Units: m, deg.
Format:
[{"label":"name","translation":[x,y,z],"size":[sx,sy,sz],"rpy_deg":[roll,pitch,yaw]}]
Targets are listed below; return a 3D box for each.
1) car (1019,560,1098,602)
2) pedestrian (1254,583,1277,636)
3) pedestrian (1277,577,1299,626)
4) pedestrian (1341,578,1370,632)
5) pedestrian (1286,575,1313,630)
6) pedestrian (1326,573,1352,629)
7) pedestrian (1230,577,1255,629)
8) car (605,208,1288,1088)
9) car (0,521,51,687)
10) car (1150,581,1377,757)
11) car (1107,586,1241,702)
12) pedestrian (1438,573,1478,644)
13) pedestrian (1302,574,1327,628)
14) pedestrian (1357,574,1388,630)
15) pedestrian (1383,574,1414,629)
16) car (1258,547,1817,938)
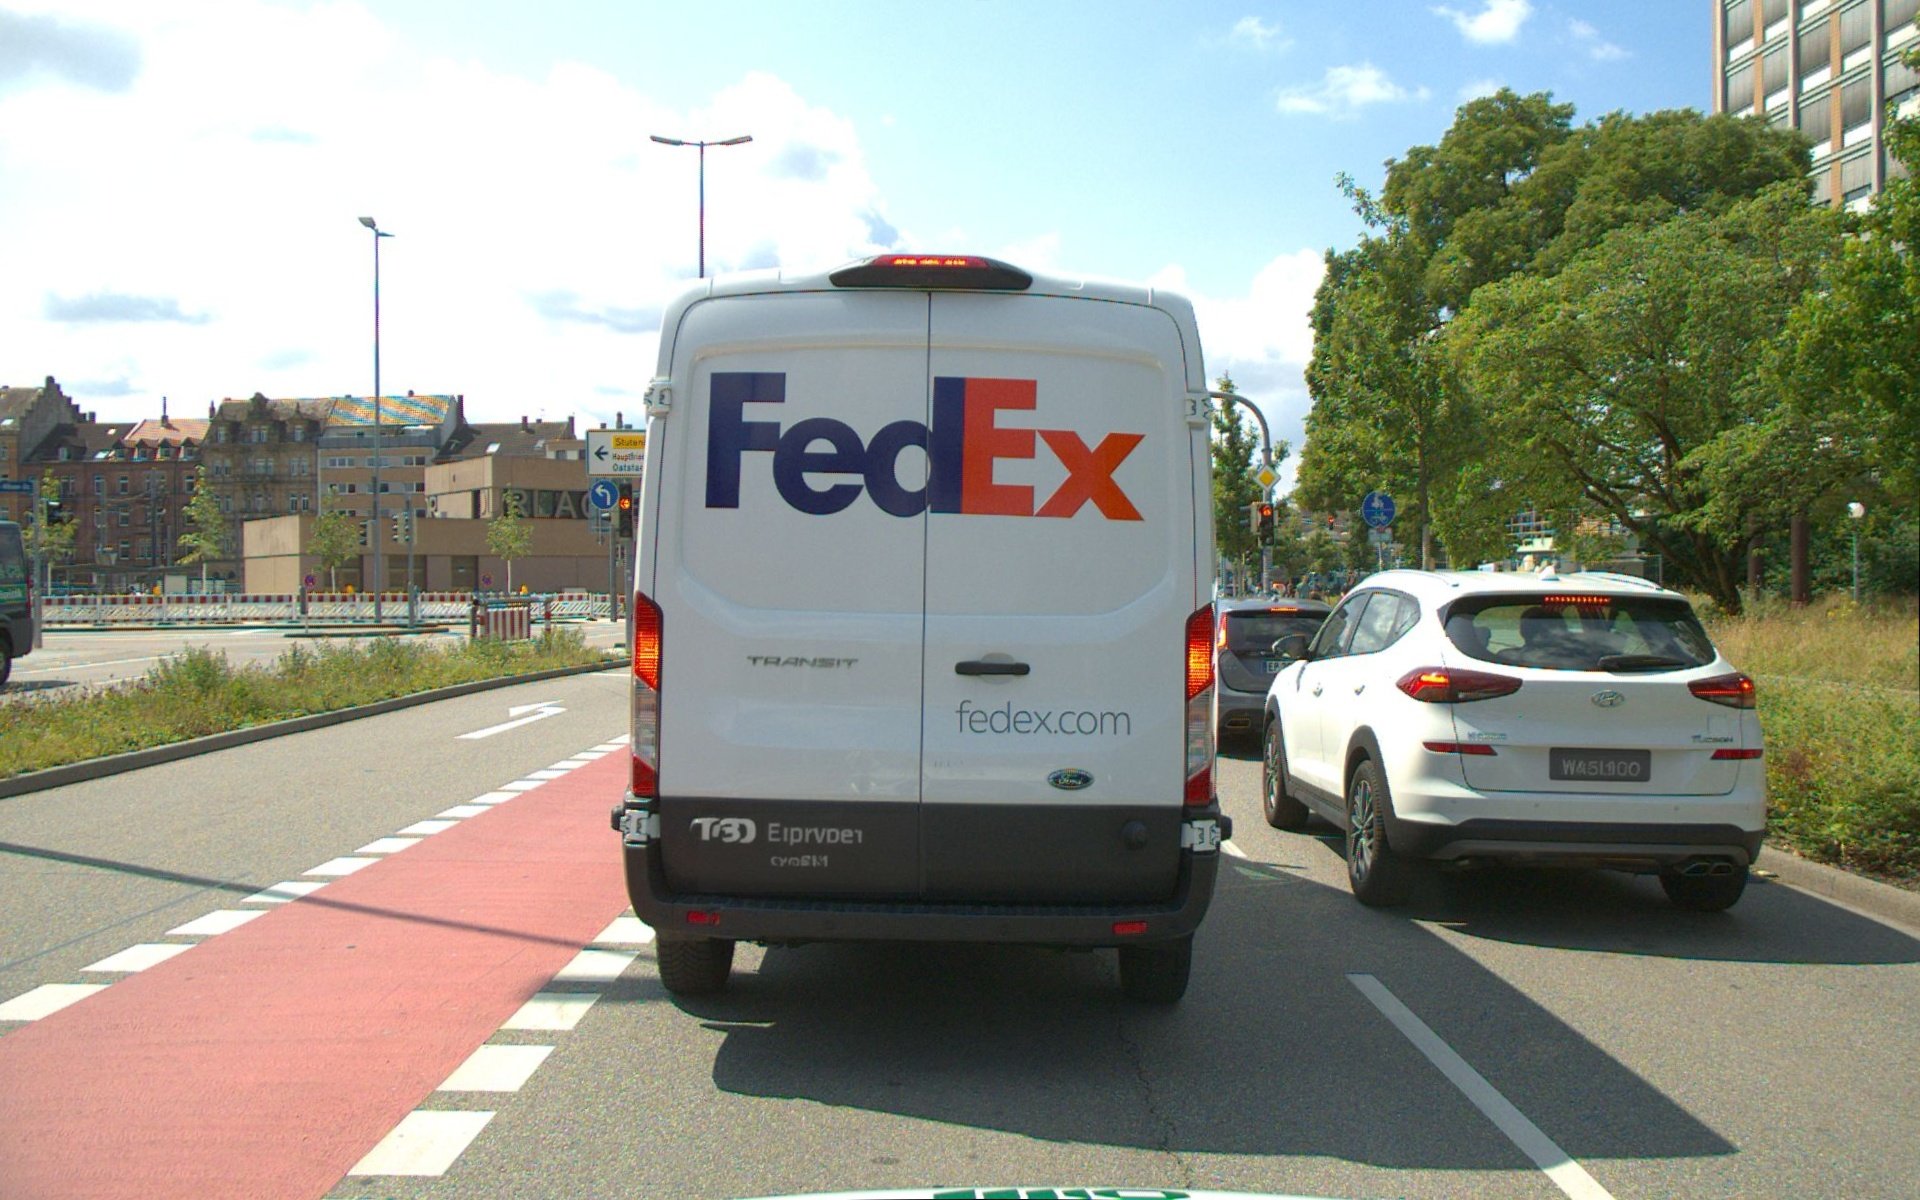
[{"label":"car","translation":[6.882,-1.280,114.828],"size":[2.442,2.765,7.068],"rpy_deg":[1,0,31]},{"label":"pedestrian","translation":[10.941,0.347,59.198],"size":[0.742,1.882,0.817],"rpy_deg":[0,0,14]},{"label":"pedestrian","translation":[12.673,0.051,63.977],"size":[0.742,1.882,0.817],"rpy_deg":[0,0,5]},{"label":"pedestrian","translation":[13.911,0.165,58.206],"size":[0.744,1.882,0.815],"rpy_deg":[-1,0,-5]},{"label":"pedestrian","translation":[11.703,0.089,57.048],"size":[0.743,1.882,0.816],"rpy_deg":[0,0,1]},{"label":"pedestrian","translation":[12.375,0.034,53.979],"size":[0.742,1.820,0.817],"rpy_deg":[0,0,7]},{"label":"pedestrian","translation":[10.230,0.098,60.007],"size":[0.796,1.882,0.761],"rpy_deg":[0,0,2]},{"label":"car","translation":[-0.011,0.120,7.168],"size":[2.030,2.626,4.428],"rpy_deg":[0,1,1]},{"label":"car","translation":[-13.831,0.107,20.688],"size":[2.104,2.213,5.018],"rpy_deg":[-2,1,-1]},{"label":"car","translation":[2.952,0.599,16.774],"size":[1.656,1.576,3.721],"rpy_deg":[0,1,1]},{"label":"car","translation":[2.947,0.561,23.282],"size":[1.468,1.489,3.474],"rpy_deg":[0,1,1]},{"label":"pedestrian","translation":[11.902,0.199,39.553],"size":[0.743,1.684,0.816],"rpy_deg":[0,0,3]},{"label":"pedestrian","translation":[12.458,0.024,58.109],"size":[0.743,1.882,0.816],"rpy_deg":[0,0,3]},{"label":"pedestrian","translation":[14.048,0.057,56.288],"size":[0.745,1.882,0.814],"rpy_deg":[-1,0,-11]},{"label":"pedestrian","translation":[14.982,0.046,56.531],"size":[0.745,1.882,0.814],"rpy_deg":[0,0,-9]},{"label":"car","translation":[2.894,0.601,9.247],"size":[1.777,1.708,3.974],"rpy_deg":[0,1,1]}]
